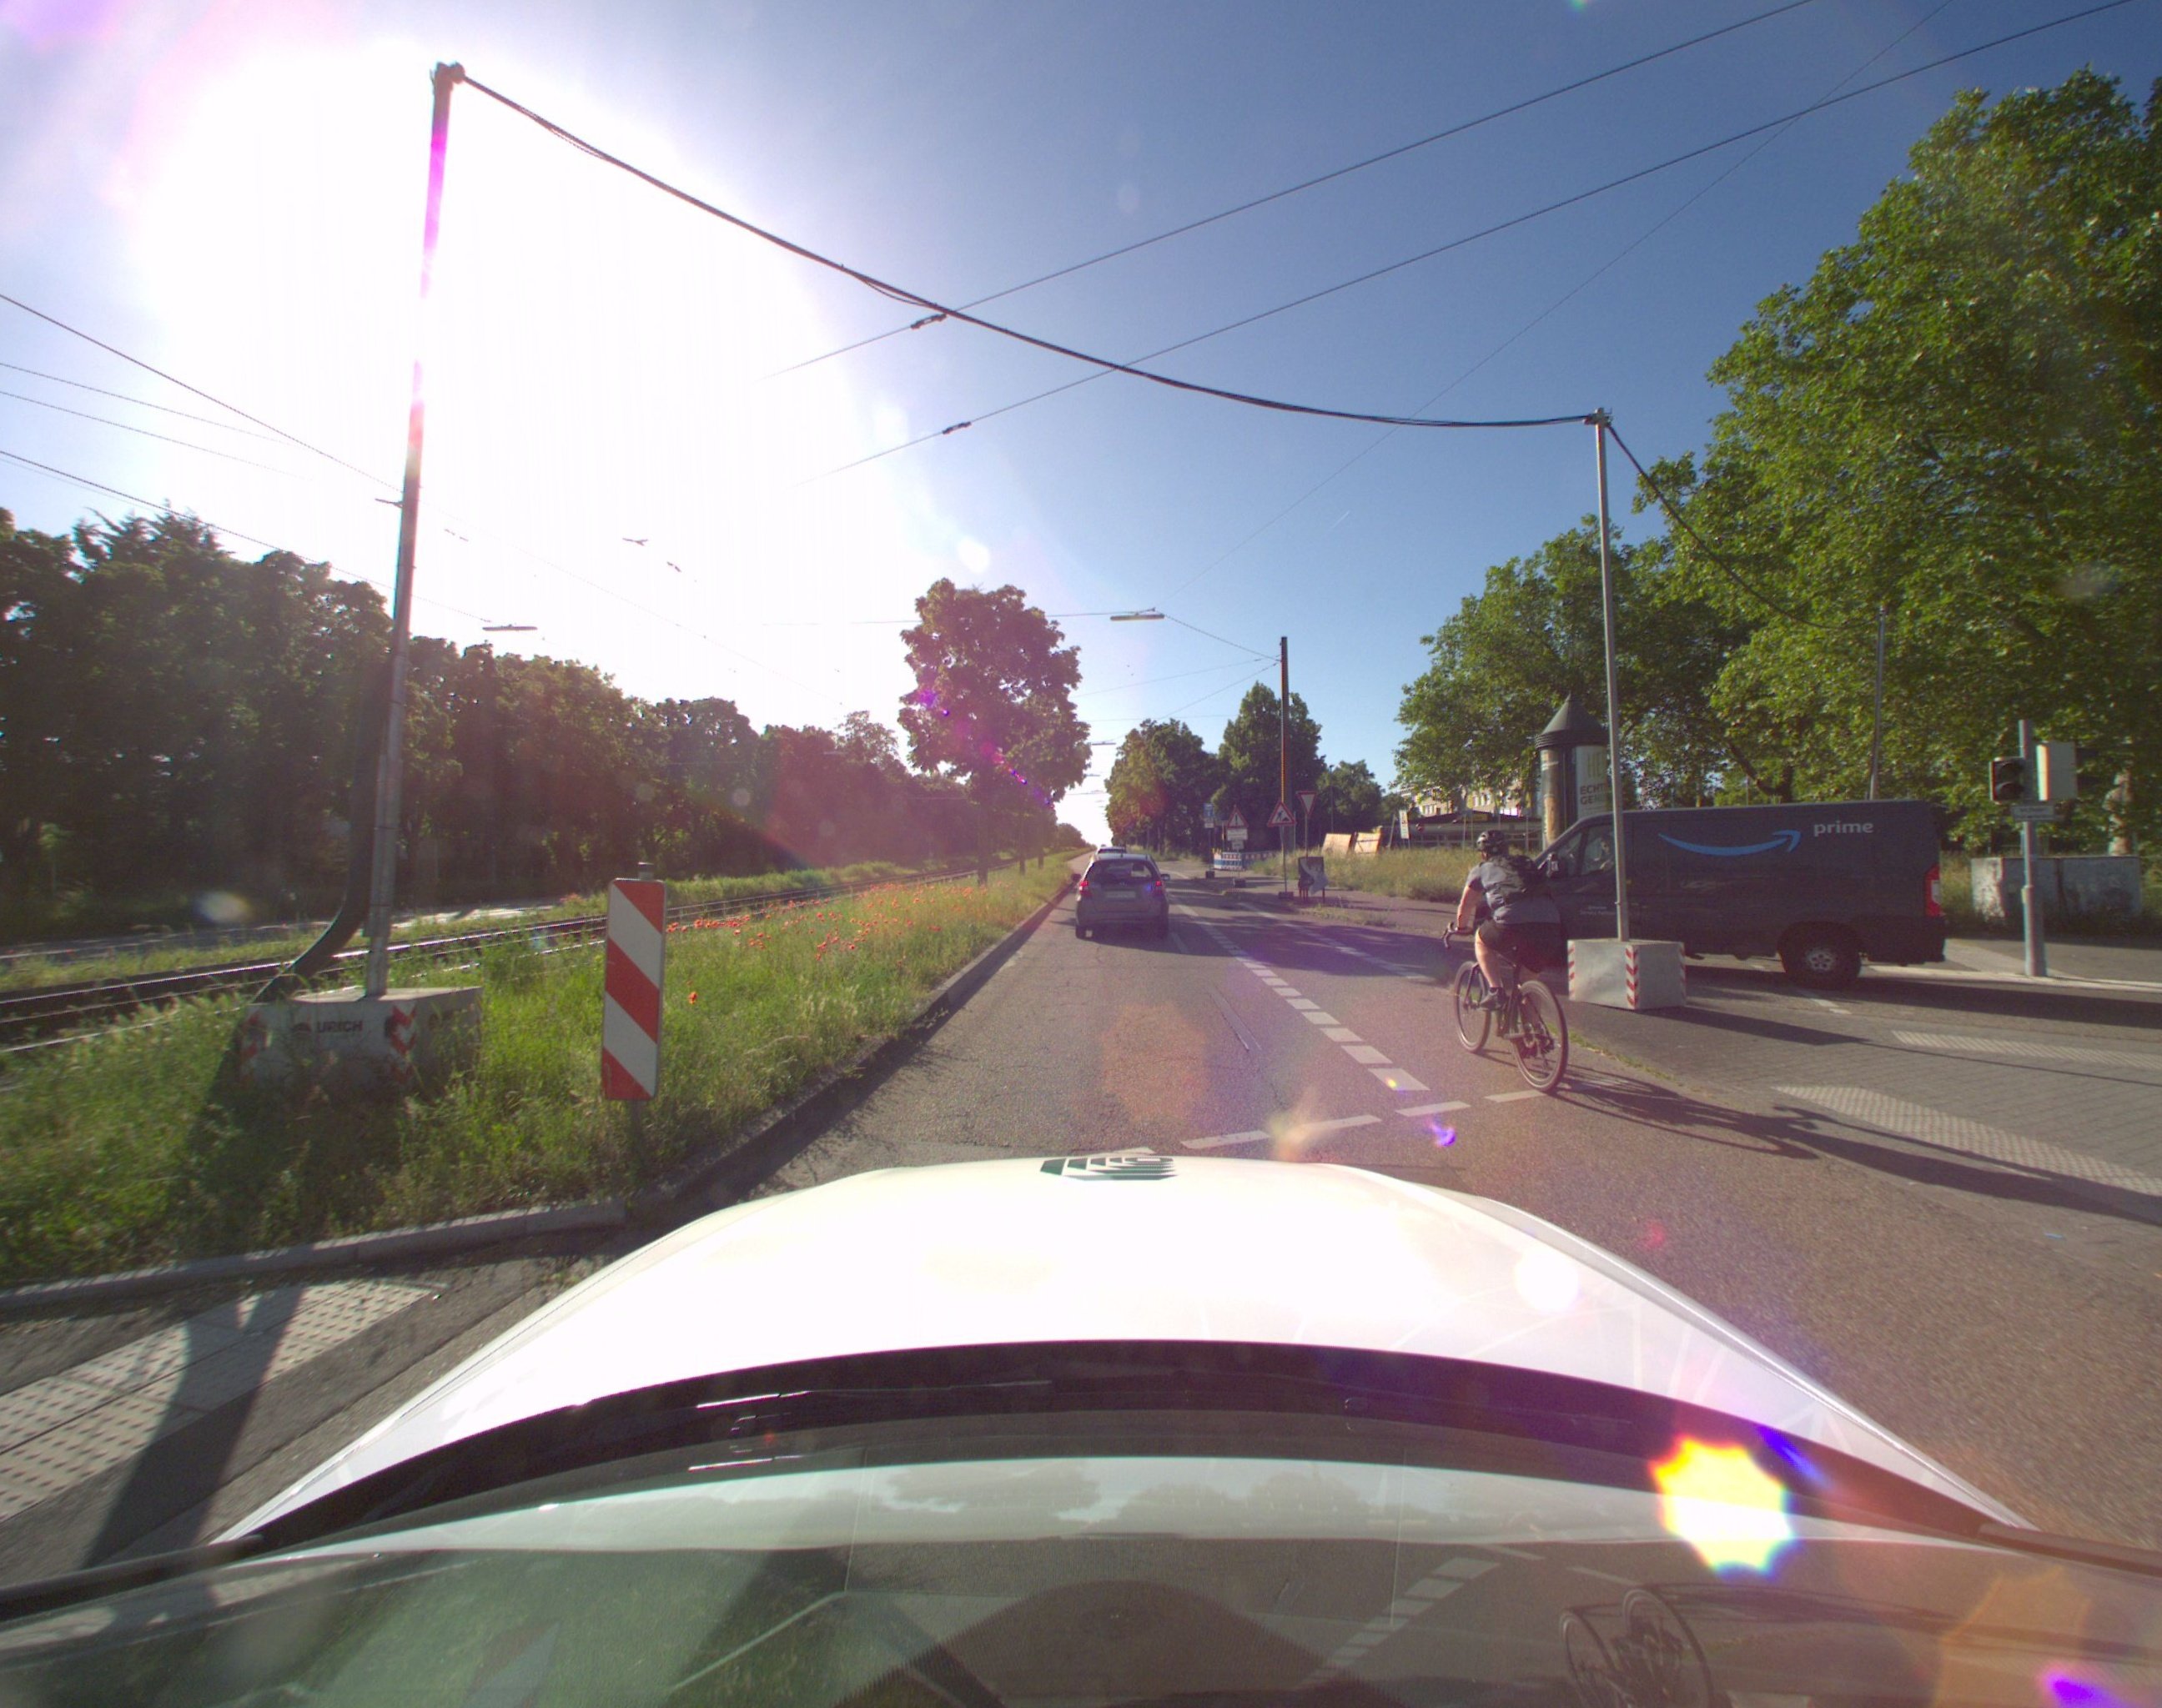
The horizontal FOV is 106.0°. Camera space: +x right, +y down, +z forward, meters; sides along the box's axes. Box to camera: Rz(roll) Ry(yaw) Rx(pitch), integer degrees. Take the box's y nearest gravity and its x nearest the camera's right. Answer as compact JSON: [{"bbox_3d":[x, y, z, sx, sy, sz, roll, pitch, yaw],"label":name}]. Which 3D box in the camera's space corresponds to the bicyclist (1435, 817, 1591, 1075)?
[{"bbox_3d":[3.032,0.604,5.803,0.612,1.679,0.934,-1,-1,3],"label":"bicyclist"}]

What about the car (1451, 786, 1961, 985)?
[{"bbox_3d":[8.016,0.356,11.003,5.054,2.070,2.144,-1,0,42],"label":"car"}]

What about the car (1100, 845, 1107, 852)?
[{"bbox_3d":[6.677,-1.684,243.417,1.985,2.013,4.003,-3,0,3],"label":"car"}]

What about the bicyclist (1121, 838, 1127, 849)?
[{"bbox_3d":[5.688,-1.388,107.378,0.814,1.524,0.967,0,-1,3],"label":"bicyclist"}]

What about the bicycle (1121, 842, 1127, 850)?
[{"bbox_3d":[5.678,-1.026,107.353,0.814,1.048,2.508,0,-1,3],"label":"bicycle"}]

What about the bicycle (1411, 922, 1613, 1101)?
[{"bbox_3d":[3.051,1.049,6.018,0.521,0.923,2.092,-1,0,5],"label":"bicycle"}]

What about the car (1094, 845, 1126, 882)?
[{"bbox_3d":[1.316,0.403,35.964,1.345,1.528,3.126,-1,0,3],"label":"car"}]

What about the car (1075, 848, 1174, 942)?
[{"bbox_3d":[0.748,0.684,15.721,1.665,1.515,3.673,1,1,0],"label":"car"}]
